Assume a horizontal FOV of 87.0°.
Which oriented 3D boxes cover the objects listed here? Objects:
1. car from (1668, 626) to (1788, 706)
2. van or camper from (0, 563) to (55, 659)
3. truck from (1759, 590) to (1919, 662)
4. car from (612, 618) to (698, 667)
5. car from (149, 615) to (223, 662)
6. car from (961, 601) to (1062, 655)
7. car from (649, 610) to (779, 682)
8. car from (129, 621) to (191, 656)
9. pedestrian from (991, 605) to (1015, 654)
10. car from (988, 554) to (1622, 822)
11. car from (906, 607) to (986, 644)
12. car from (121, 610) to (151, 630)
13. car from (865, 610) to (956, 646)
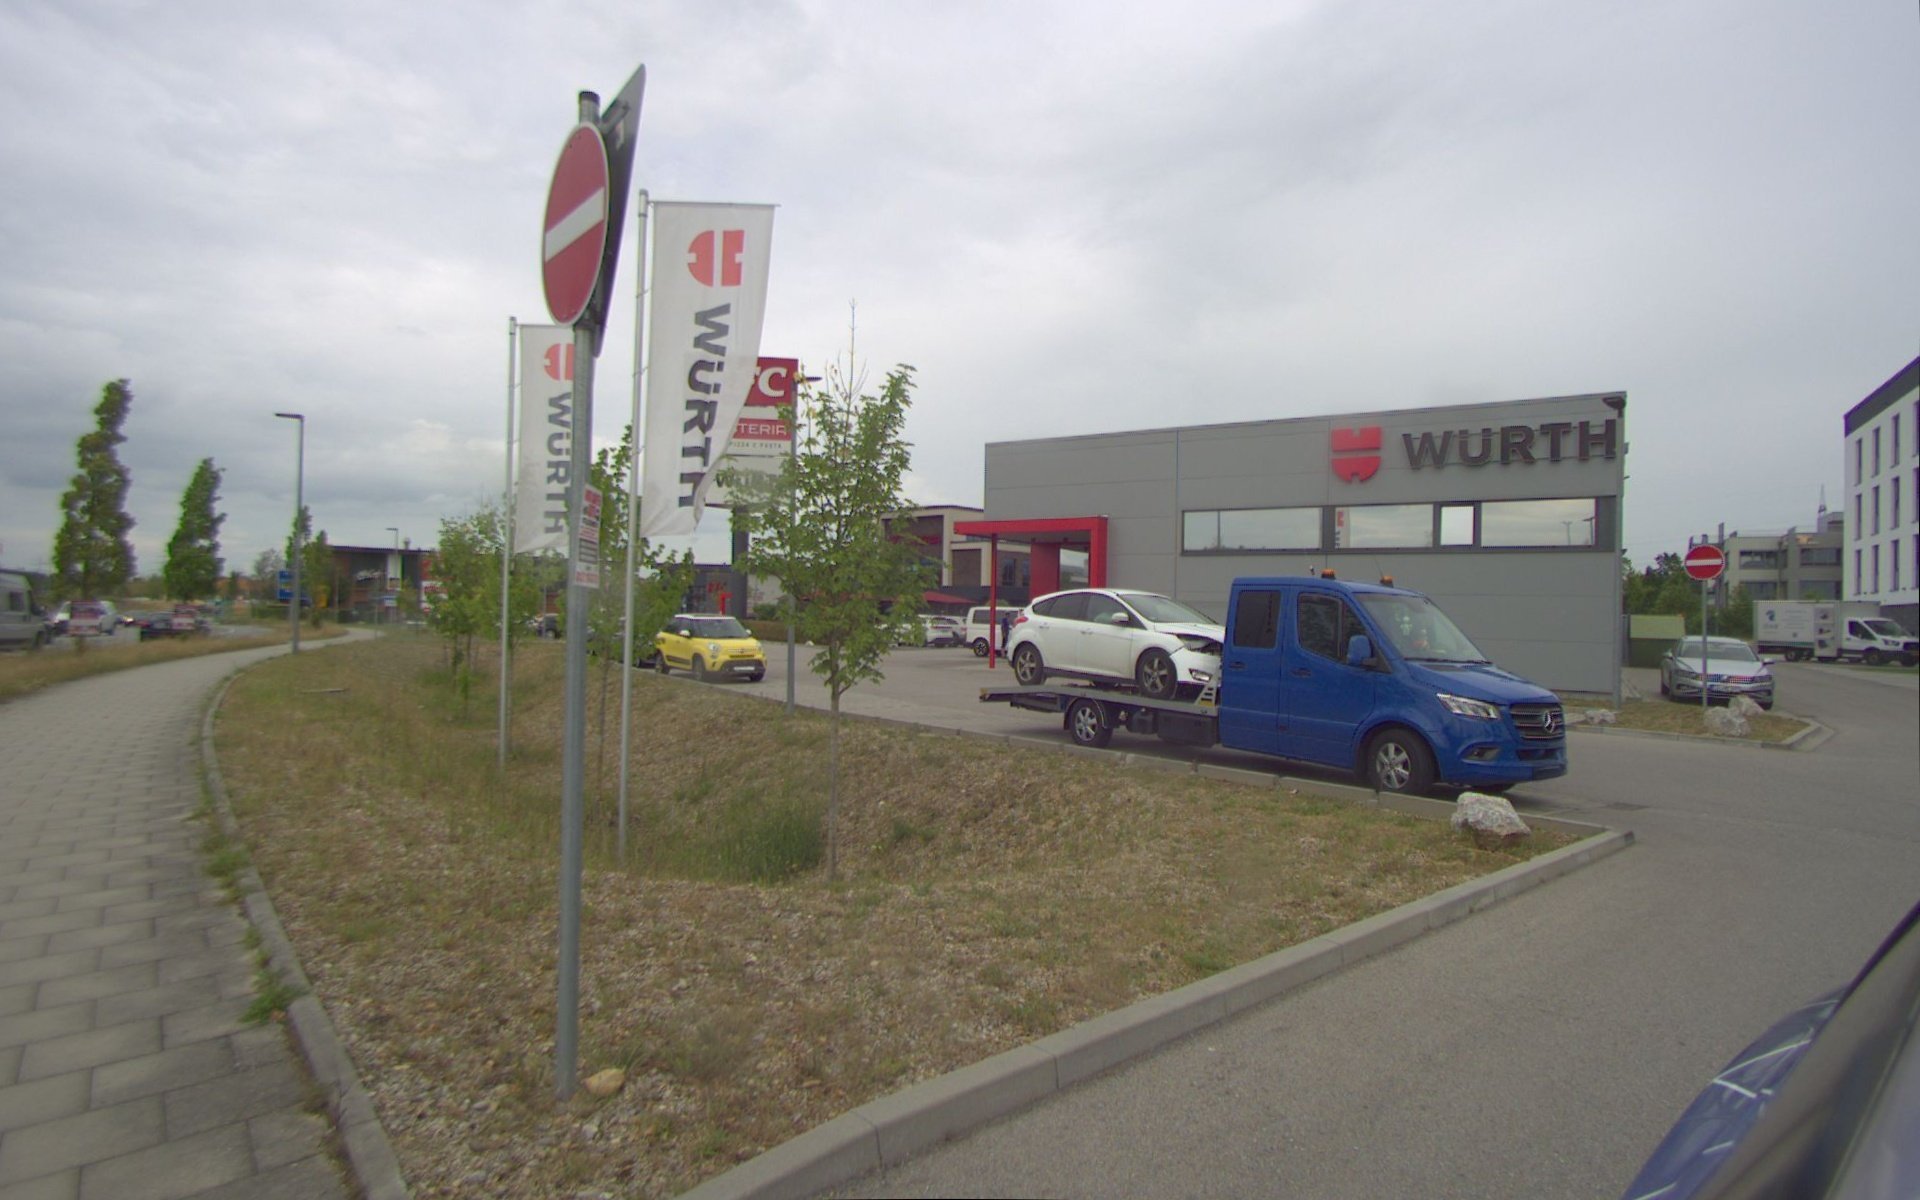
[{"bbox_3d":[17.618,1.414,23.157,1.972,1.510,4.702,3,1,39],"label":"car"},{"bbox_3d":[-27.148,0.296,27.606,2.151,2.574,6.173,1,-1,-28],"label":"van or camper"},{"bbox_3d":[41.338,1.123,46.918,2.387,3.055,7.077,0,0,-7],"label":"truck"},{"bbox_3d":[-9.752,1.293,32.177,1.709,1.379,4.003,1,0,-30],"label":"car"},{"bbox_3d":[-29.618,1.430,38.821,1.651,1.698,3.510,1,0,-27],"label":"car"},{"bbox_3d":[2.016,1.060,39.875,3.650,2.004,1.656,0,-1,34],"label":"car"},{"bbox_3d":[-6.513,1.123,26.472,1.721,1.705,4.295,1,-1,-37],"label":"car"},{"bbox_3d":[-34.425,1.615,43.599,1.464,1.403,3.345,0,0,-27],"label":"car"},{"bbox_3d":[1.646,1.130,38.554,0.655,1.831,0.641,1,-1,35],"label":"pedestrian"},{"bbox_3d":[3.531,0.758,12.764,2.159,2.352,7.858,1,0,-34],"label":"car"},{"bbox_3d":[-0.785,1.365,55.141,3.974,1.883,1.975,1,-1,35],"label":"car"},{"bbox_3d":[-71.738,1.751,88.126,1.874,1.588,4.332,1,0,-38],"label":"car"},{"bbox_3d":[-2.606,1.438,52.847,4.711,1.771,1.736,0,-1,36],"label":"car"}]
